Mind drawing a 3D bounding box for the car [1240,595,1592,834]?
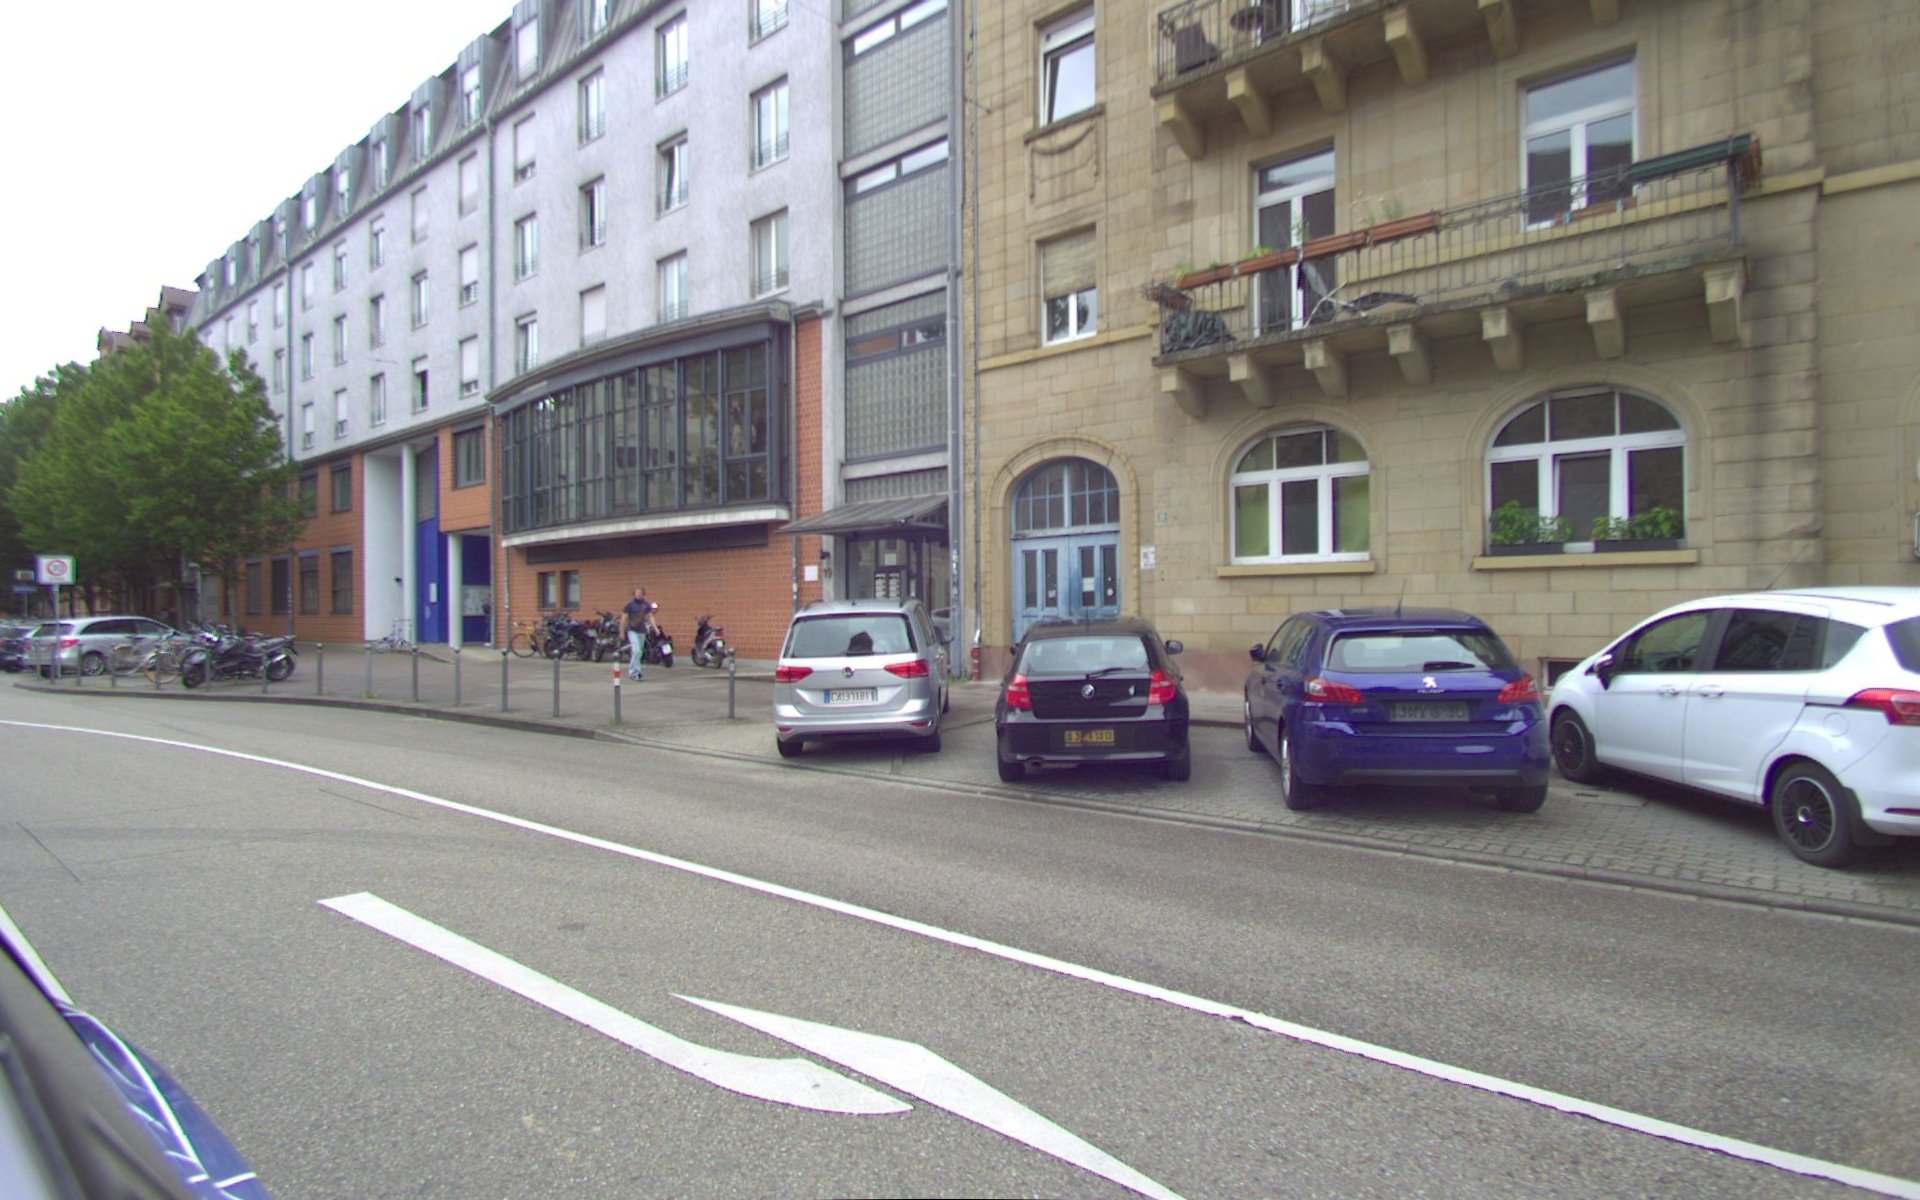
[{"bbox_3d":[3.482,0.756,8.502,1.804,1.456,3.737,-2,1,10],"label":"car"}]

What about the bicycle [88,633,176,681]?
[{"bbox_3d":[-20.375,1.389,24.938,0.416,1.082,1.609,-1,0,39],"label":"bicycle"}]

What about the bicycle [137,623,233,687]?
[{"bbox_3d":[-17.030,1.180,22.264,0.416,1.299,1.609,-1,0,39],"label":"bicycle"}]

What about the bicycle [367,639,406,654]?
[{"bbox_3d":[-18.448,1.486,32.566,0.527,0.440,0.997,1,0,42],"label":"bicycle"}]

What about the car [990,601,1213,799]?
[{"bbox_3d":[1.405,0.816,10.052,1.713,1.449,3.990,-2,1,9],"label":"car"}]

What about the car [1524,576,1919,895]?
[{"bbox_3d":[5.773,0.651,6.922,1.681,1.565,3.997,-2,1,3],"label":"car"}]

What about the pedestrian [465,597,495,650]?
[{"bbox_3d":[-15.296,0.753,32.277,0.622,1.662,0.677,-1,0,42],"label":"pedestrian"}]

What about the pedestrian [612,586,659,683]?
[{"bbox_3d":[-6.300,0.669,19.647,0.642,1.837,0.613,-1,-2,41],"label":"pedestrian"}]

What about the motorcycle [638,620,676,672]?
[{"bbox_3d":[-6.735,1.007,22.422,0.438,1.106,1.768,0,-1,-29],"label":"motorcycle"}]

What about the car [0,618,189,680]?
[{"bbox_3d":[-25.087,1.369,29.334,1.983,1.641,3.977,-1,-1,18],"label":"car"}]

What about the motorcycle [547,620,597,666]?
[{"bbox_3d":[-9.775,1.066,25.461,1.762,1.106,0.440,-1,-2,42],"label":"motorcycle"}]

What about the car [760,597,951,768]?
[{"bbox_3d":[-1.042,0.805,11.940,1.710,1.565,3.998,-2,1,1],"label":"car"}]

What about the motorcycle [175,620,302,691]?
[{"bbox_3d":[-15.251,1.141,21.452,0.599,1.363,2.096,-1,0,41],"label":"motorcycle"}]

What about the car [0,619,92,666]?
[{"bbox_3d":[-34.431,1.543,36.751,1.983,1.641,3.977,-1,-1,18],"label":"car"}]

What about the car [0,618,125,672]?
[{"bbox_3d":[-29.951,1.433,32.848,1.983,1.641,3.977,-1,-1,18],"label":"car"}]

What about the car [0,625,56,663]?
[{"bbox_3d":[-39.499,1.810,41.020,1.723,1.508,3.977,-1,-1,18],"label":"car"}]

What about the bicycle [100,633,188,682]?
[{"bbox_3d":[-19.891,1.384,24.701,0.416,1.082,1.609,-1,0,39],"label":"bicycle"}]

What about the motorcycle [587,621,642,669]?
[{"bbox_3d":[-8.251,1.053,24.157,1.762,1.106,0.440,-1,-2,42],"label":"motorcycle"}]

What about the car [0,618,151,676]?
[{"bbox_3d":[-27.731,1.403,31.187,1.983,1.641,3.977,-1,-1,18],"label":"car"}]

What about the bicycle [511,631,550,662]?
[{"bbox_3d":[-11.601,1.240,27.296,1.581,0.793,0.332,-1,-2,42],"label":"bicycle"}]

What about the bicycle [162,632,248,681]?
[{"bbox_3d":[-18.418,1.371,24.708,0.416,1.082,1.609,-1,0,39],"label":"bicycle"}]

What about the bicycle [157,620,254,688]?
[{"bbox_3d":[-16.380,1.148,21.992,0.416,1.363,1.609,-1,0,39],"label":"bicycle"}]

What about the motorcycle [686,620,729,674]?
[{"bbox_3d":[-5.382,0.976,21.523,0.438,1.106,1.768,0,-1,-29],"label":"motorcycle"}]

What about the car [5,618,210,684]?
[{"bbox_3d":[-23.079,1.332,27.592,1.758,1.641,3.977,-1,-1,18],"label":"car"}]
